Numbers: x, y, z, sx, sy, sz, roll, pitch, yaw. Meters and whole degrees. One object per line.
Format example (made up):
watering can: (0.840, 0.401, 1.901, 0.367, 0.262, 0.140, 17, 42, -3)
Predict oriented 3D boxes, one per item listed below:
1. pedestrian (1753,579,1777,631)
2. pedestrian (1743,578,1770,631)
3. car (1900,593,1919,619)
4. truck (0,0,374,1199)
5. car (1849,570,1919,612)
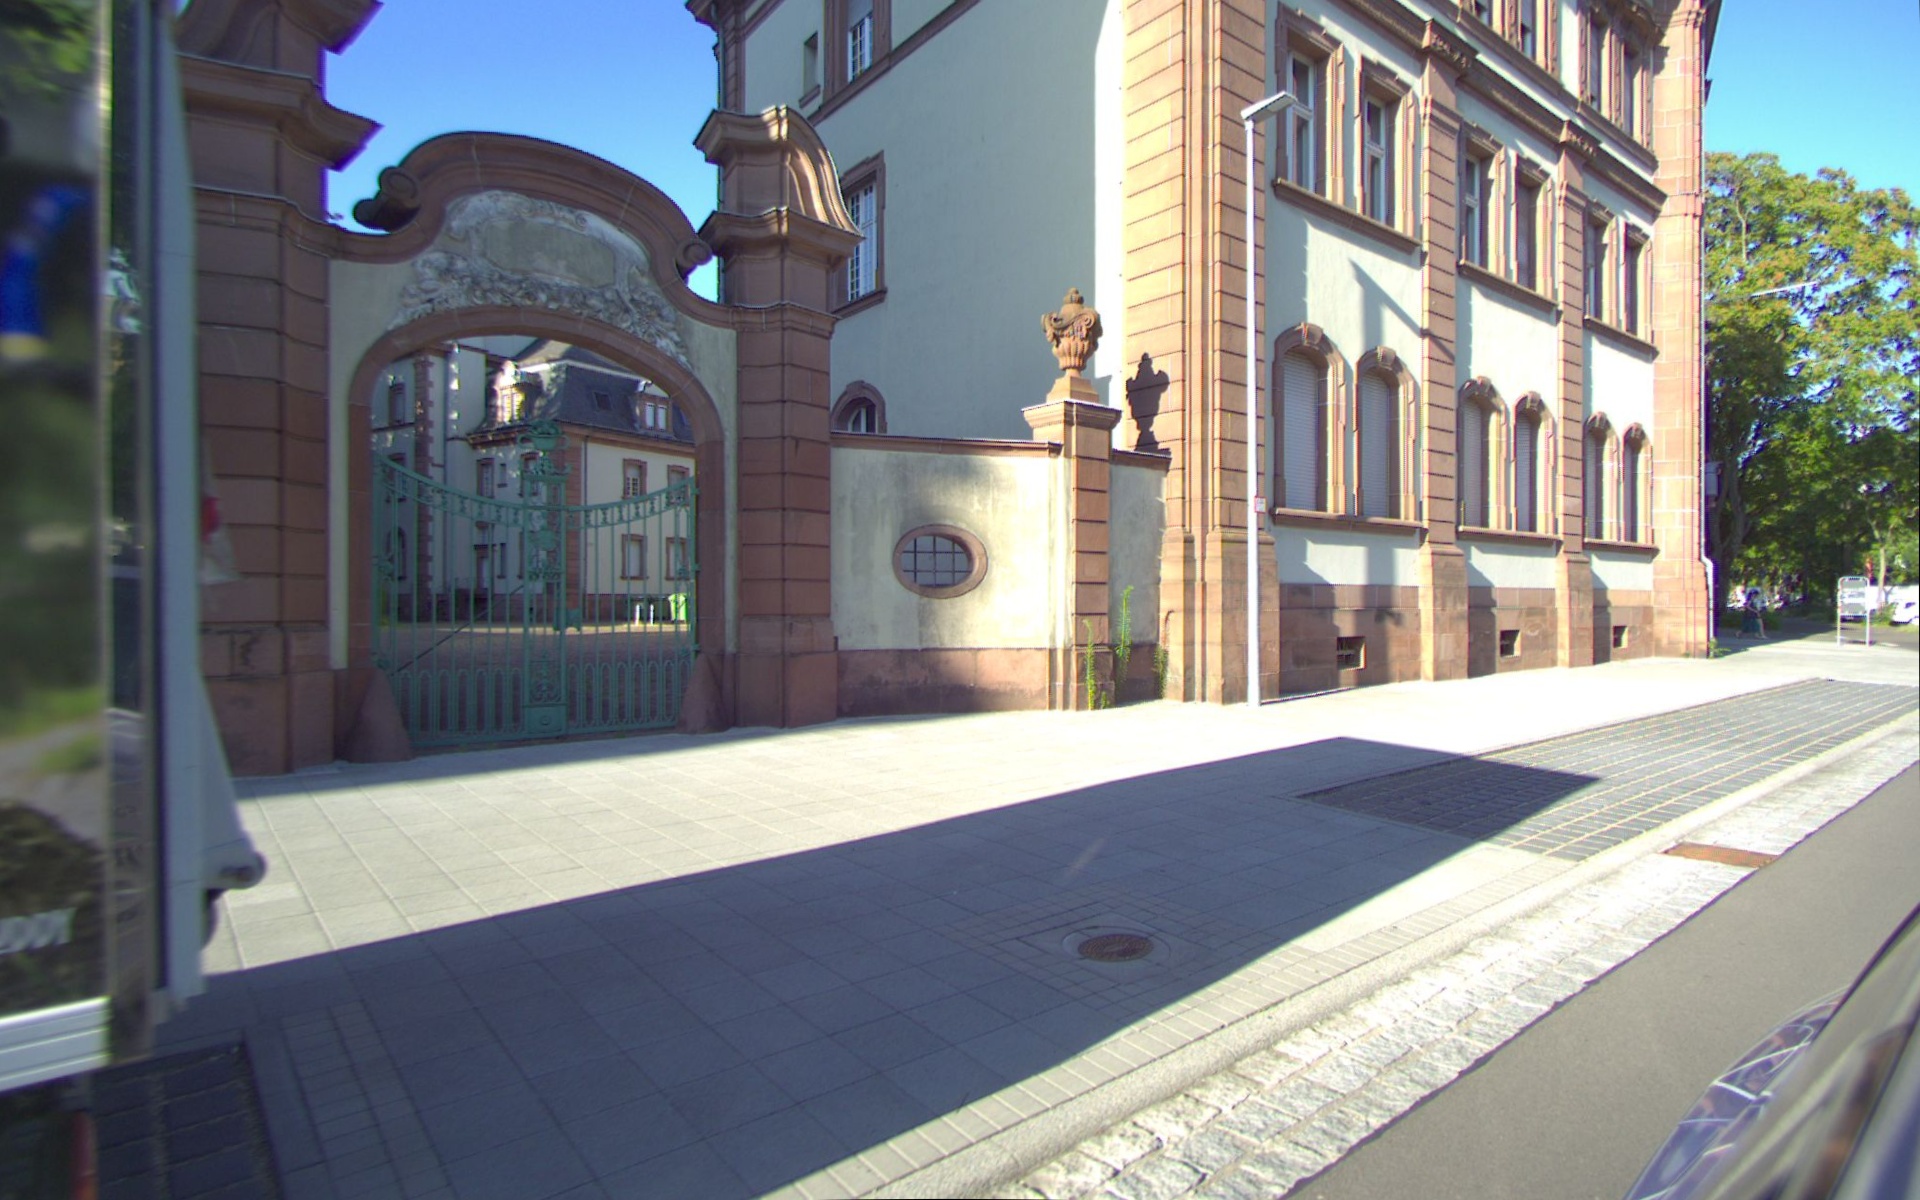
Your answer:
pedestrian: (29.276, 0.183, 36.806, 0.609, 1.864, 0.717, 0, -3, 35)
pedestrian: (28.589, 0.156, 36.334, 0.712, 1.864, 0.780, 0, -2, 35)
car: (56.108, 0.329, 57.236, 4.028, 1.438, 1.699, 0, 0, 32)
truck: (-4.008, -0.185, 0.565, 5.983, 3.159, 2.628, 0, 2, -42)
car: (62.954, -0.563, 66.923, 5.864, 2.735, 2.195, 0, 0, 32)
